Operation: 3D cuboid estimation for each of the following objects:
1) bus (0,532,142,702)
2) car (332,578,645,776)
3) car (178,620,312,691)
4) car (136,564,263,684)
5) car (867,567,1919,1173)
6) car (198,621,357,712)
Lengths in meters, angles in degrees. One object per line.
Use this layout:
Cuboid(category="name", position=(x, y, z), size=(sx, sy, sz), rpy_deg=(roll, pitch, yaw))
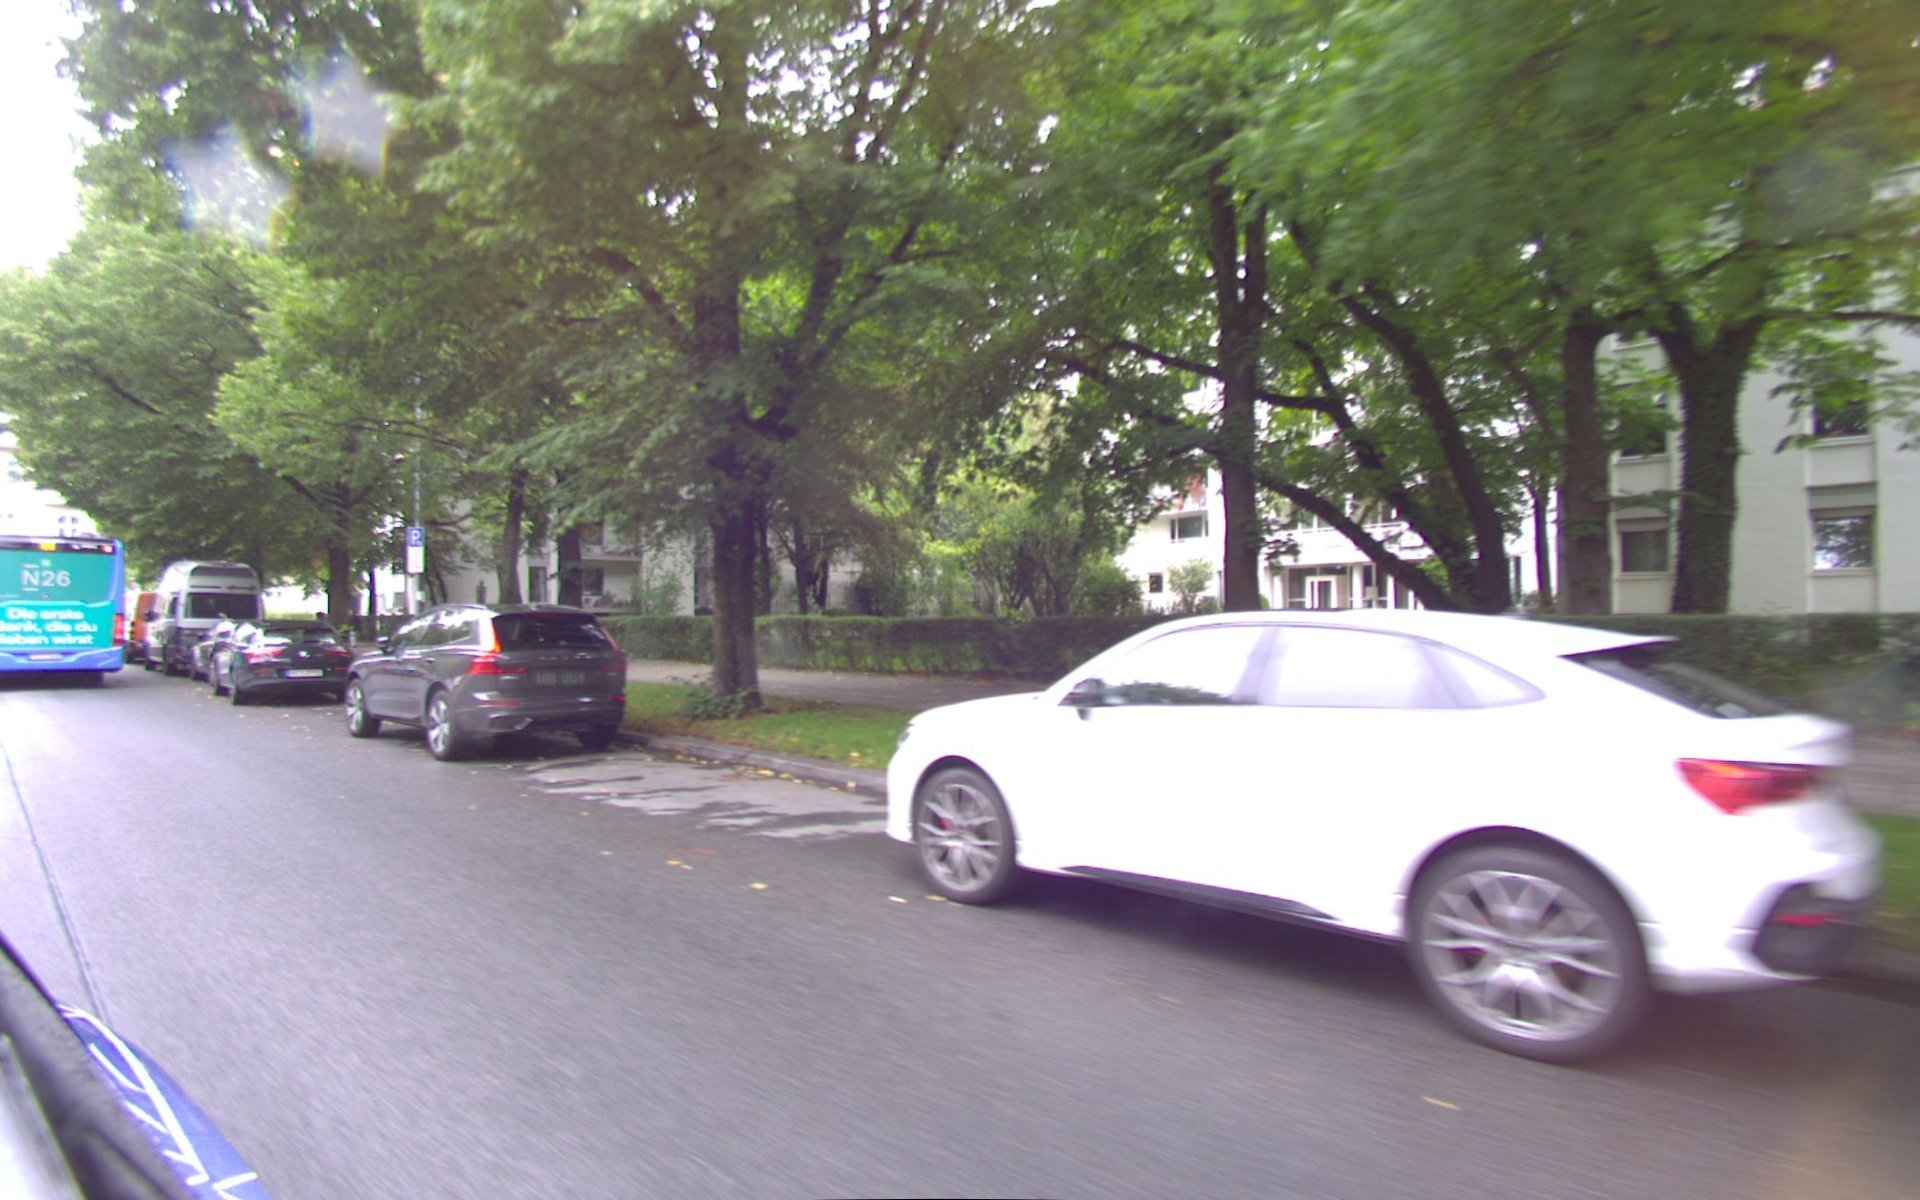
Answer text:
Cuboid(category="bus", position=(-24.478, 0.306, 26.332), size=(18.433, 3.263, 2.827), rpy_deg=(0, 0, 44))
Cuboid(category="car", position=(-5.670, 0.763, 11.870), size=(4.549, 1.891, 1.764), rpy_deg=(-1, -1, 44))
Cuboid(category="car", position=(-16.241, 1.201, 22.893), size=(1.769, 1.449, 4.581), rpy_deg=(1, -2, -44))
Cuboid(category="car", position=(-20.626, 0.578, 27.310), size=(1.922, 2.876, 6.240), rpy_deg=(1, 0, -44))
Cuboid(category="car", position=(1.745, 0.738, 4.684), size=(4.585, 1.609, 1.764), rpy_deg=(-1, -1, 44))
Cuboid(category="car", position=(-12.533, 1.134, 18.458), size=(1.768, 1.449, 4.556), rpy_deg=(1, -2, -42))
